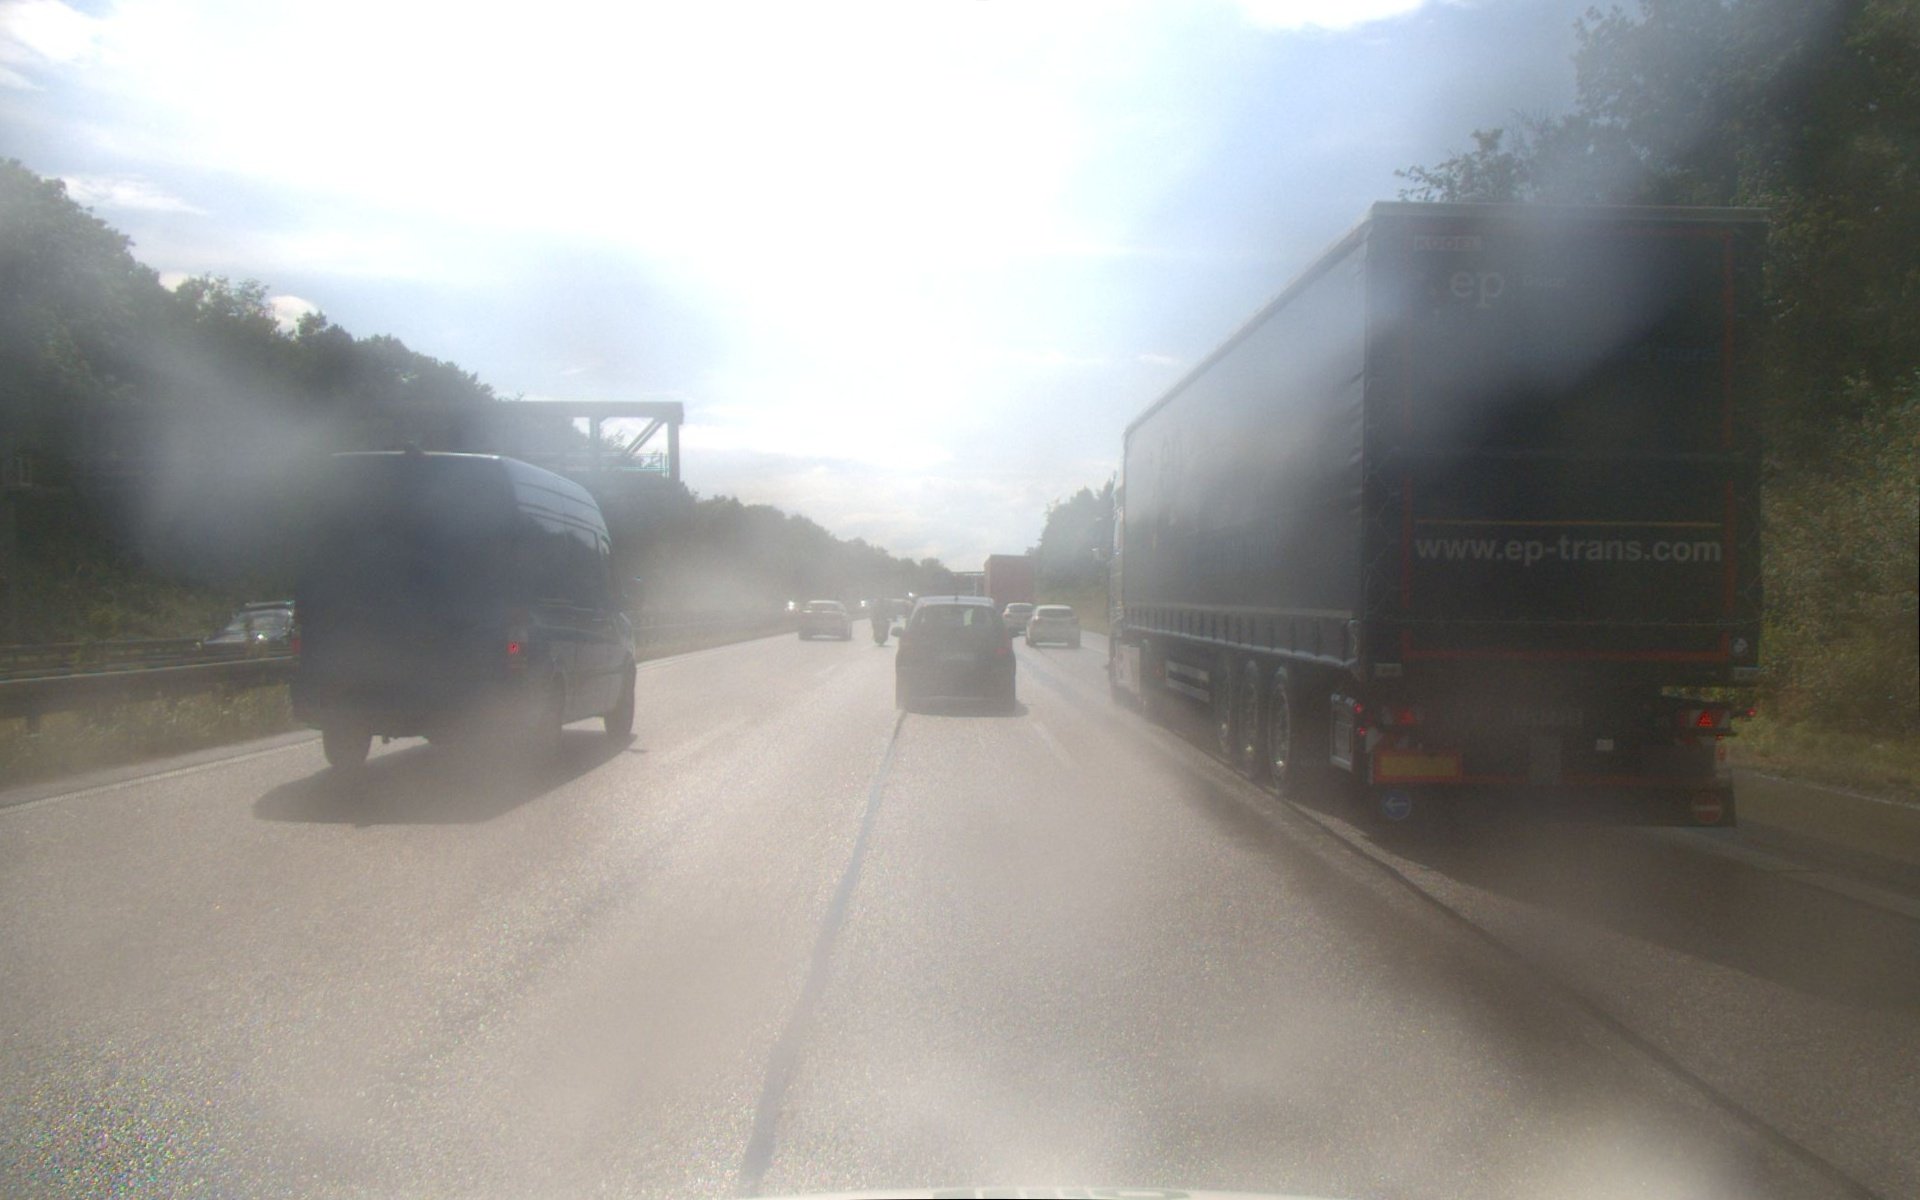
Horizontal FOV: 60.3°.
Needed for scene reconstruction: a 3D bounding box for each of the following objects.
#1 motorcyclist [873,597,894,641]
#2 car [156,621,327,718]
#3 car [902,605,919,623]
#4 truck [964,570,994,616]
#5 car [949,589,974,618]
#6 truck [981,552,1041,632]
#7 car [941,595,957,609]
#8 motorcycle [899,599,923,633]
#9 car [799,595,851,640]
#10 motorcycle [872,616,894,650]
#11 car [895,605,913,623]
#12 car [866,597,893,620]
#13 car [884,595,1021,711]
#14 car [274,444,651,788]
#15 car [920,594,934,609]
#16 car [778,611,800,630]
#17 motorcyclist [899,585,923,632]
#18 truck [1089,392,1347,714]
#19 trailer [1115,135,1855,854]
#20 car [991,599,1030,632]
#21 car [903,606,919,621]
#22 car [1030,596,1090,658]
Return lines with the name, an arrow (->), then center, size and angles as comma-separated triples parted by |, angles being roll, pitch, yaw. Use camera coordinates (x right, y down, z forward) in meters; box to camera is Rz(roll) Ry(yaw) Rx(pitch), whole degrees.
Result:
motorcyclist -> -2.580, 0.640, 55.629 | 0.657, 1.467, 1.019 | 1, -1, -4
car -> -16.527, 1.545, 38.330 | 1.953, 2.049, 4.731 | 1, -1, -1
car -> -5.833, 1.684, 196.523 | 1.953, 2.049, 3.999 | 1, -1, -2
truck -> 2.005, -0.644, 178.928 | 2.823, 4.770, 12.654 | 1, -1, -1
car -> 0.090, 0.244, 113.337 | 1.641, 1.970, 3.772 | 1, 0, -2
truck -> 2.947, -0.431, 98.617 | 3.137, 4.481, 9.430 | 1, 0, -1
car -> -1.151, 0.219, 176.908 | 1.599, 1.516, 3.435 | 1, 0, -2
motorcycle -> -1.914, 0.598, 64.317 | 0.804, 1.285, 2.115 | 1, 0, -5
car -> -5.160, 0.656, 63.774 | 1.723, 1.622, 4.329 | 1, 0, -2
motorcycle -> -2.596, 1.097, 55.644 | 0.662, 1.106, 1.980 | 1, 0, -4
car -> -5.136, 1.287, 151.360 | 1.641, 1.625, 3.435 | 1, 0, -2
car -> -5.940, 0.631, 122.404 | 1.854, 1.656, 4.193 | 1, 0, -2
car -> -0.155, 0.741, 25.096 | 1.876, 1.592, 4.312 | 1, 0, -2
car -> -4.459, 0.137, 15.933 | 1.975, 2.695, 5.775 | 1, 0, -1
car -> -4.836, 0.203, 240.681 | 1.953, 2.049, 3.999 | 1, -1, -2
car -> -18.777, 2.265, 181.697 | 1.953, 2.049, 4.731 | 1, -1, -1
motorcyclist -> -1.904, 0.334, 64.242 | 0.805, 1.791, 1.389 | 1, -1, -5
truck -> 3.808, -0.619, 25.811 | 2.990, 4.401, 5.885 | 1, -1, -1
trailer -> 3.911, -0.625, 17.239 | 3.025, 4.388, 14.102 | 1, 0, -1
car -> 2.387, 0.730, 78.395 | 1.641, 1.516, 3.435 | 1, 0, -2
car -> -5.236, 1.454, 176.989 | 1.641, 1.516, 3.435 | 1, 0, -2
car -> 3.469, 0.932, 58.032 | 1.811, 2.049, 4.086 | 1, -1, -1
